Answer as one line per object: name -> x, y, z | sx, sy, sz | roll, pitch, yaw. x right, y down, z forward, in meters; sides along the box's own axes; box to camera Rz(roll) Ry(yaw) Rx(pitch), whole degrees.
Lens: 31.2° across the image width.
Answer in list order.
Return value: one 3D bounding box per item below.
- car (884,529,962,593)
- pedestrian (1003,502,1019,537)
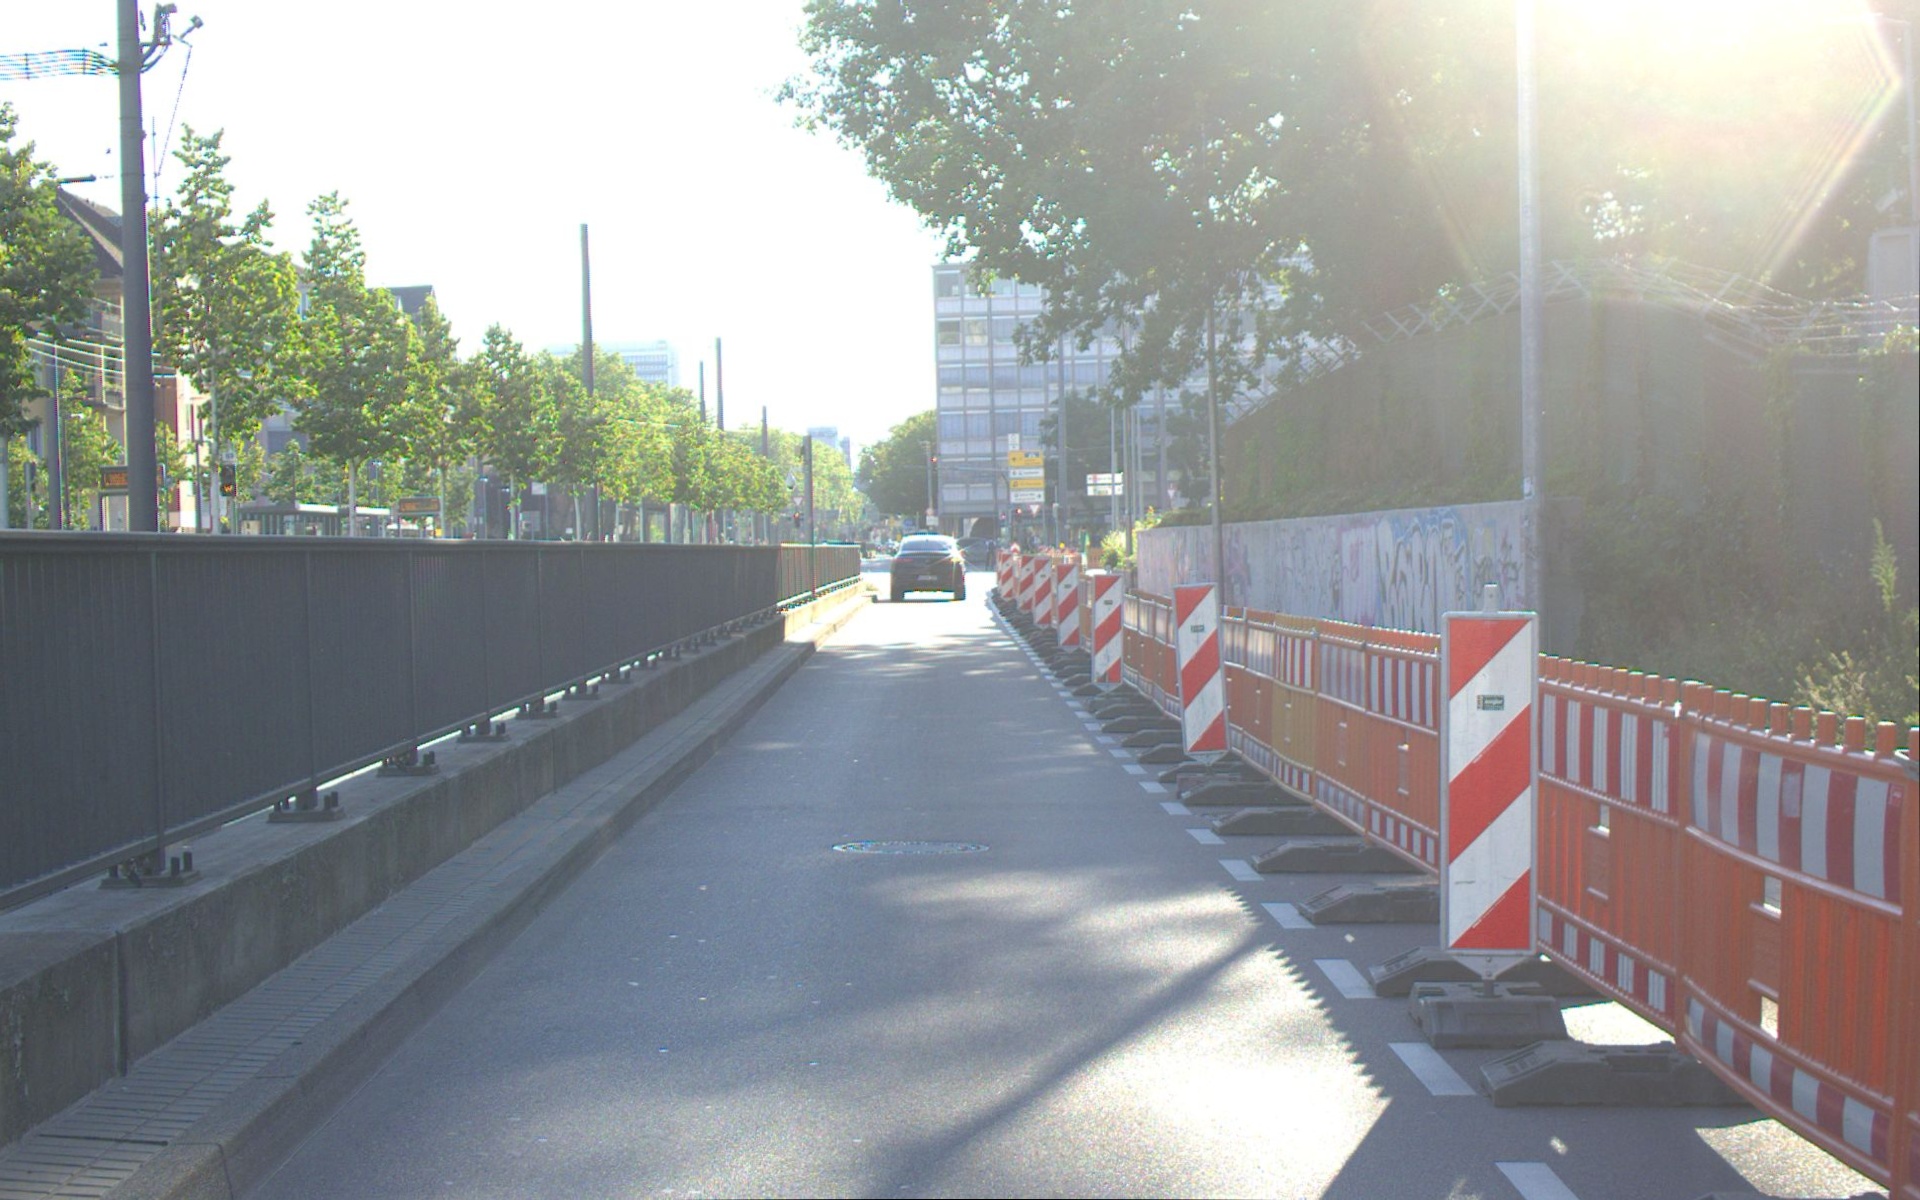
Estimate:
car -> -0.972, -1.053, 92.751 | 2.005, 1.653, 4.000 | 1, 1, 0
pedestrian -> 3.128, -4.922, 209.038 | 0.891, 2.105, 0.718 | -1, 2, 5
